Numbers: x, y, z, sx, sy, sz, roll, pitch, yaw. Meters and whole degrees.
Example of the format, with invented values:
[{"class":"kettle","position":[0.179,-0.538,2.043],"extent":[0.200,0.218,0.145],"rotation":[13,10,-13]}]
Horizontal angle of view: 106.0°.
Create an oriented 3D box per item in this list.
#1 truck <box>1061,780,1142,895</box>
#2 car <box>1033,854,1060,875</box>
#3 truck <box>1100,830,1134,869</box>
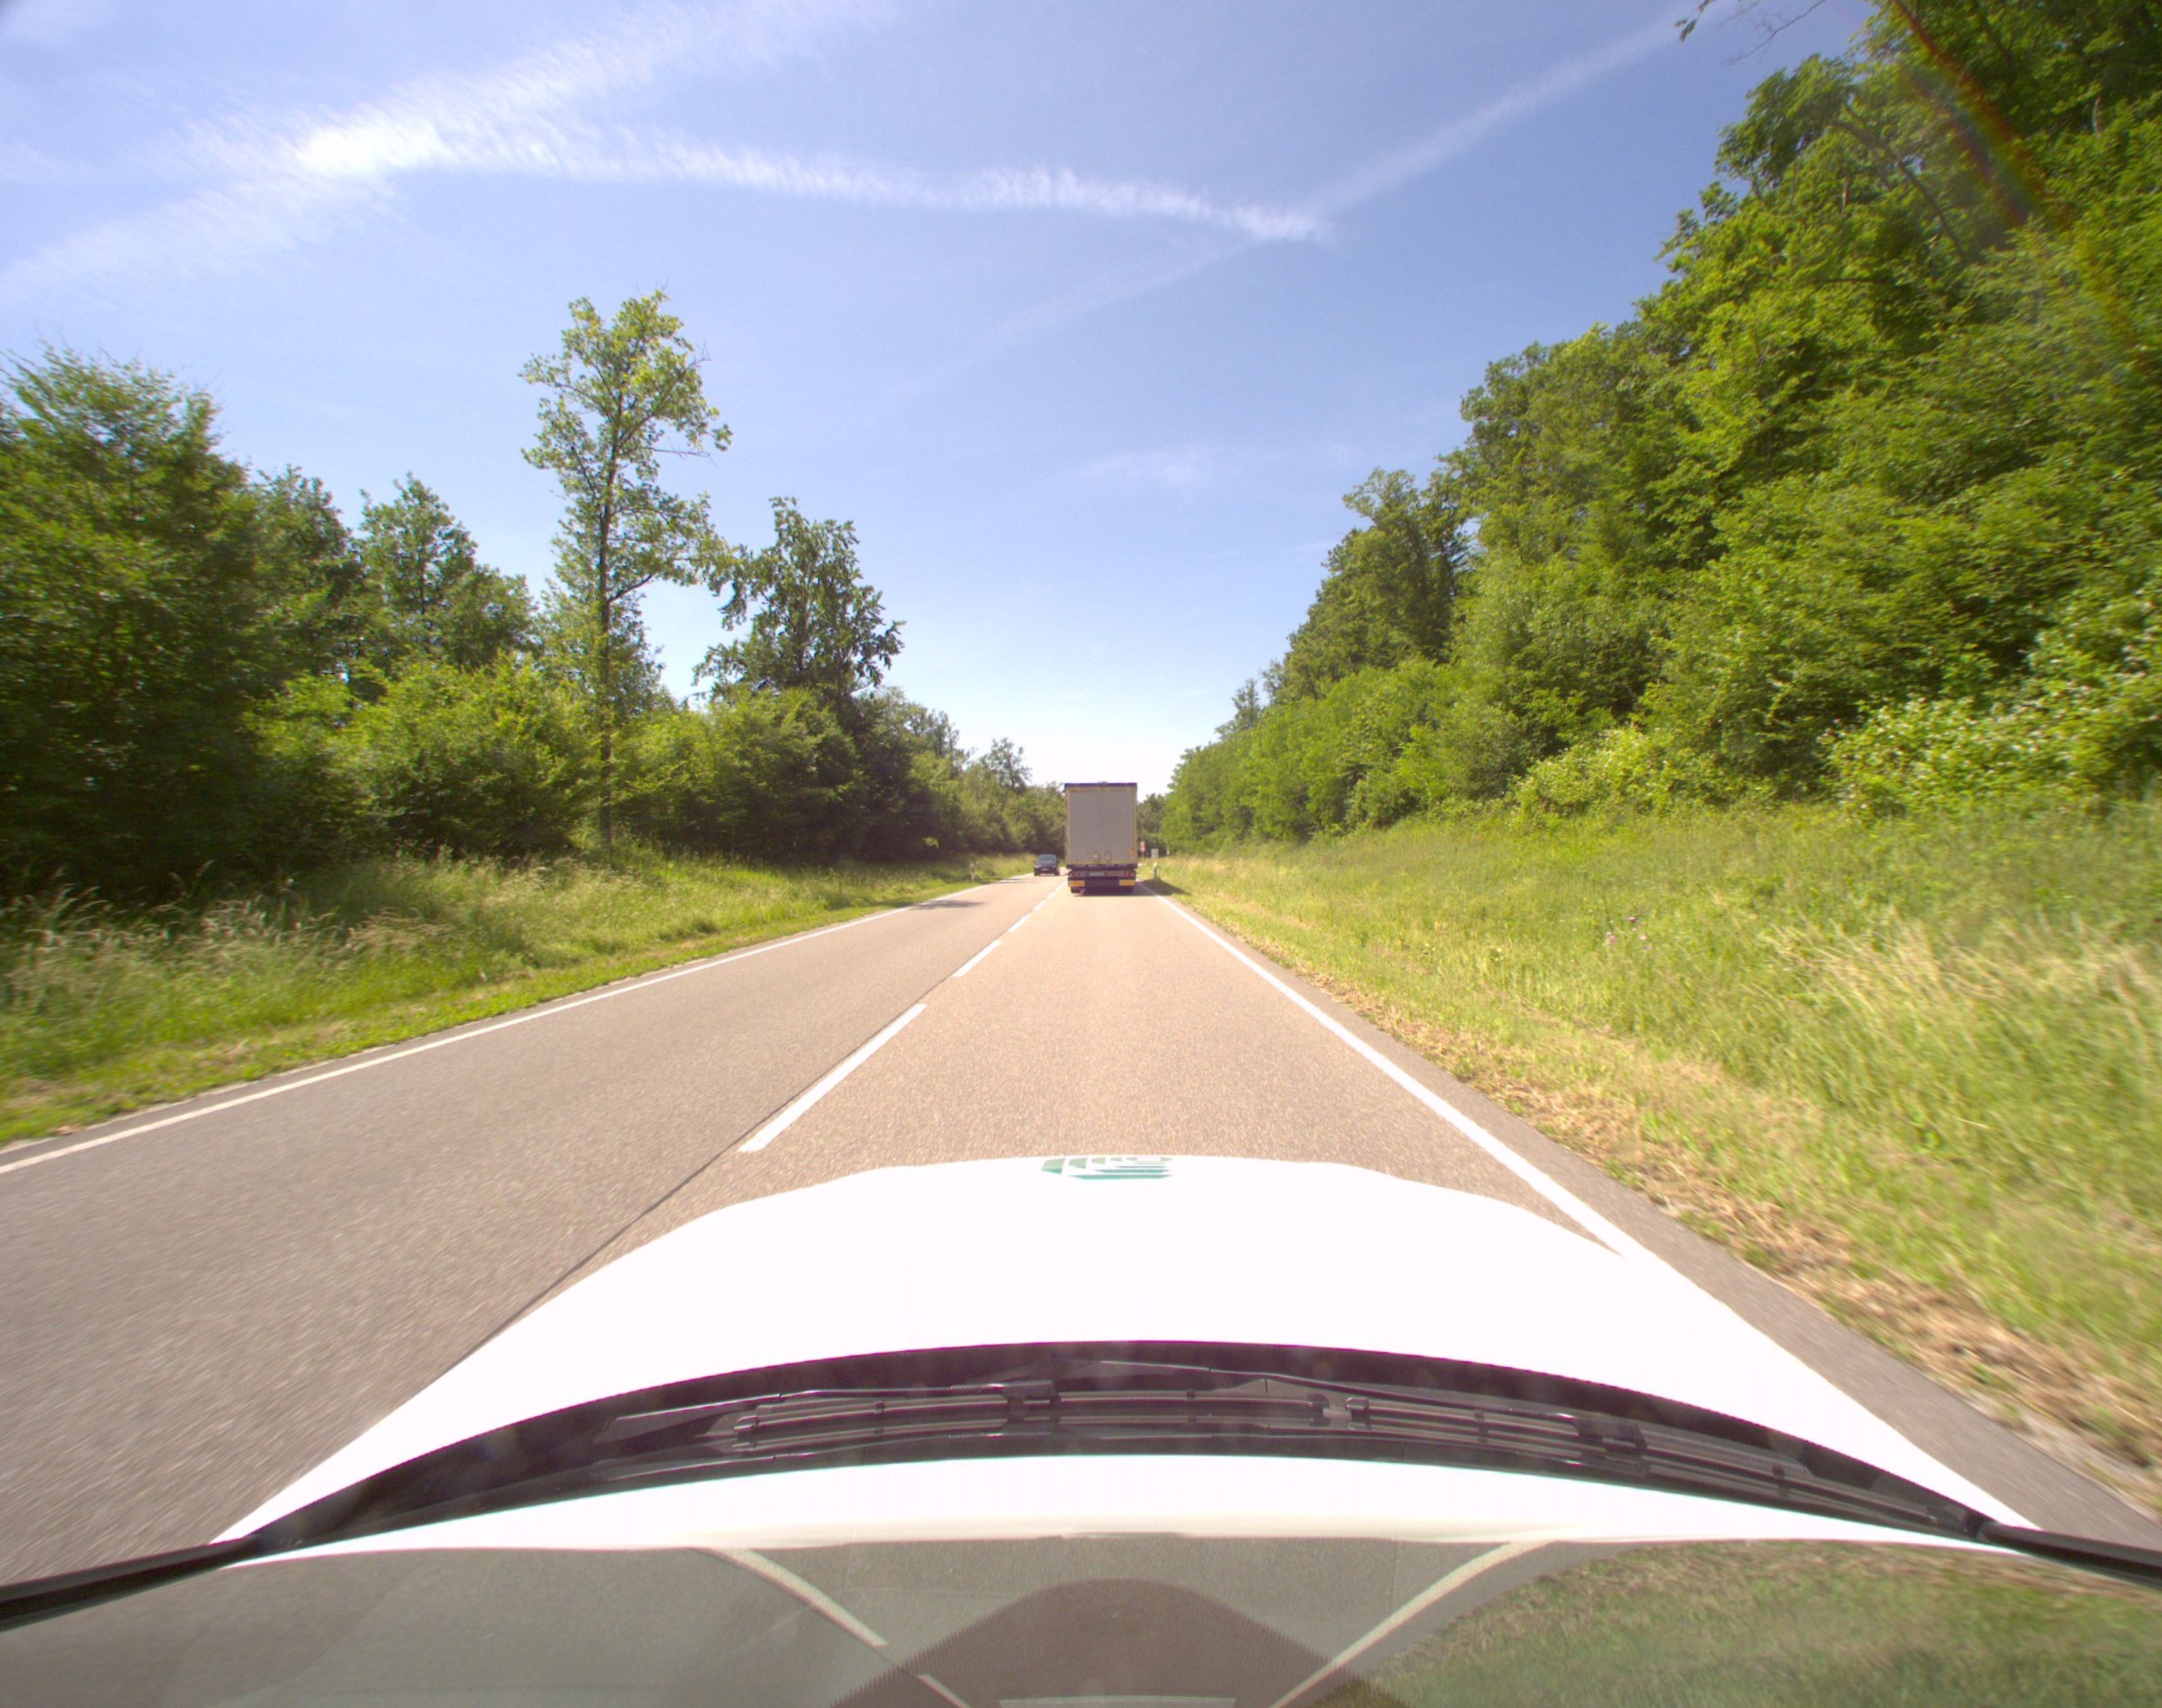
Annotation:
[{"class":"truck","position":[0.857,-0.573,34.564],"extent":[2.751,3.947,12.200],"rotation":[-1,0,1]},{"class":"car","position":[-2.480,0.728,59.126],"extent":[1.654,1.495,3.807],"rotation":[-1,0,2]},{"class":"truck","position":[4.462,-0.528,99.509],"extent":[3.777,4.373,14.932],"rotation":[-1,0,3]}]
